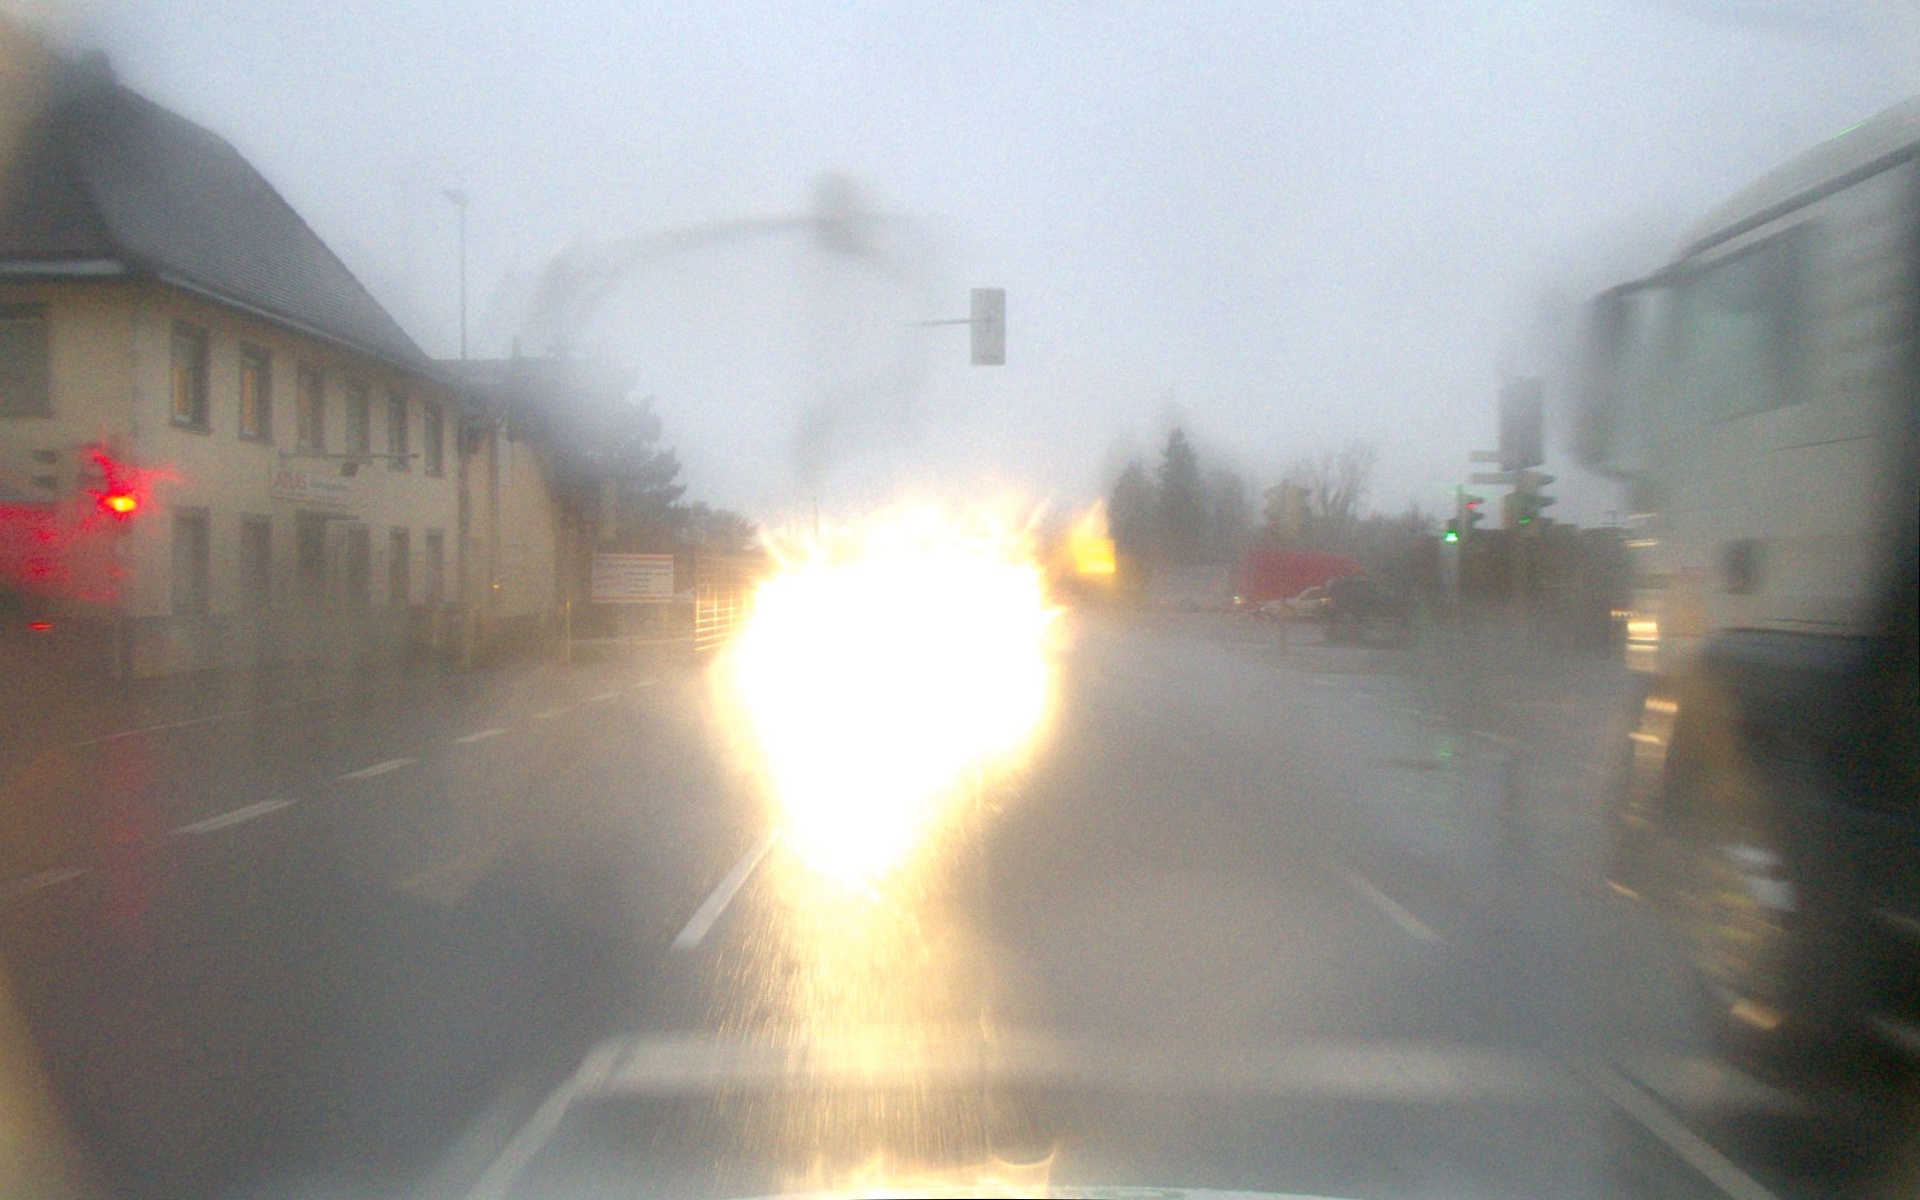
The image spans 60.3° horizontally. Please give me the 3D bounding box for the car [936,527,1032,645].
[{"bbox_3d":[0.616,-0.386,45.343,2.352,2.943,6.250,2,0,0],"label":"car"}]

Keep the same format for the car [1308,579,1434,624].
[{"bbox_3d":[15.627,0.039,63.039,4.431,1.556,1.778,-2,0,5],"label":"car"}]

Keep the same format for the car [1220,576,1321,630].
[{"bbox_3d":[12.564,0.094,67.027,3.902,2.049,2.002,-2,0,10],"label":"car"}]

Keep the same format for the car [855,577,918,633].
[{"bbox_3d":[-2.366,0.164,54.105,1.685,1.753,3.929,-1,0,3],"label":"car"}]

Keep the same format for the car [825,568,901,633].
[{"bbox_3d":[-2.732,-0.023,47.259,1.789,1.800,3.755,0,1,3],"label":"car"}]

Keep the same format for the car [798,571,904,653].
[{"bbox_3d":[-2.466,0.241,38.429,1.952,1.777,4.002,-1,1,3],"label":"car"}]

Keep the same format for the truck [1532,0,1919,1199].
[{"bbox_3d":[3.660,-0.088,3.946,2.411,3.286,6.273,1,1,0],"label":"truck"}]

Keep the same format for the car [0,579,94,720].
[{"bbox_3d":[-13.020,0.581,19.716,4.588,1.600,2.055,-1,1,15],"label":"car"}]

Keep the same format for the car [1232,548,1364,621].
[{"bbox_3d":[14.316,-0.671,70.219,5.152,2.920,1.775,-2,0,-7],"label":"car"}]
